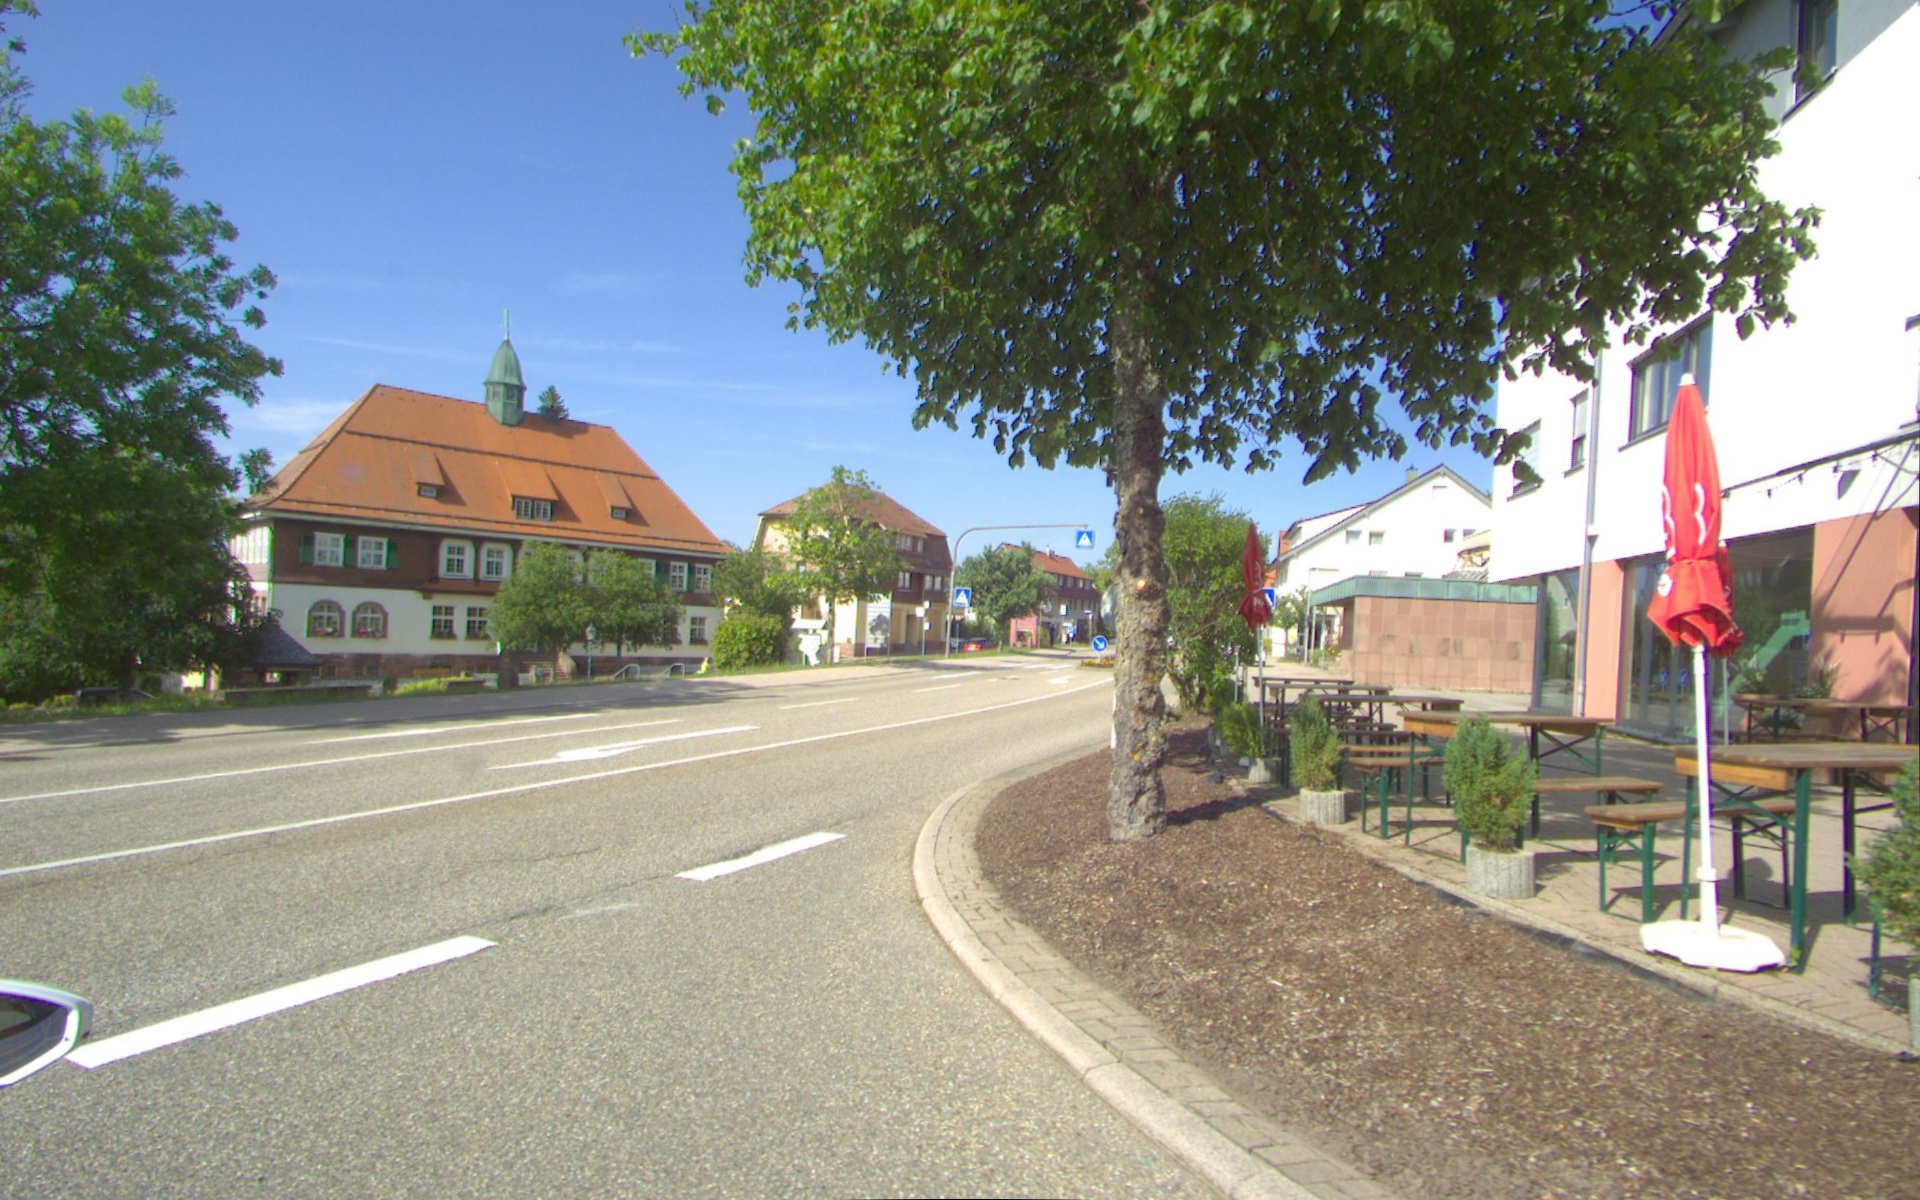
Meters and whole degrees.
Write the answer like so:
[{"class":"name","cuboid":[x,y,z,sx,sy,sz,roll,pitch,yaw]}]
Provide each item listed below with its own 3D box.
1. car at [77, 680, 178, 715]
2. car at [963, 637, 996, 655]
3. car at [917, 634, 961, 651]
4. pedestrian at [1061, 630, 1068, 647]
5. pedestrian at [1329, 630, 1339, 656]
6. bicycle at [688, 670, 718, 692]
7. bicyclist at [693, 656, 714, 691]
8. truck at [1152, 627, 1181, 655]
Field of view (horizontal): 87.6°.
[{"class":"car","cuboid":[-41.506,4.815,49.981,1.696,1.463,3.751,-2,-2,44]},{"class":"car","cuboid":[1.622,3.759,82.029,1.744,1.451,3.710,-2,-2,17]},{"class":"car","cuboid":[-1.930,3.925,92.497,3.648,1.451,1.774,-2,-2,19]},{"class":"pedestrian","cuboid":[11.207,4.119,107.546,0.489,1.771,0.587,-1,-1,31]},{"class":"pedestrian","cuboid":[24.056,2.760,64.369,0.557,1.613,0.484,-1,-1,16]},{"class":"bicycle","cuboid":[-14.737,4.641,57.455,0.532,1.205,1.714,-2,-2,41]},{"class":"bicyclist","cuboid":[-14.727,4.200,57.471,0.575,1.949,0.989,-2,-2,41]},{"class":"truck","cuboid":[18.944,3.687,91.672,1.964,2.372,6.487,1,-1,17]}]
